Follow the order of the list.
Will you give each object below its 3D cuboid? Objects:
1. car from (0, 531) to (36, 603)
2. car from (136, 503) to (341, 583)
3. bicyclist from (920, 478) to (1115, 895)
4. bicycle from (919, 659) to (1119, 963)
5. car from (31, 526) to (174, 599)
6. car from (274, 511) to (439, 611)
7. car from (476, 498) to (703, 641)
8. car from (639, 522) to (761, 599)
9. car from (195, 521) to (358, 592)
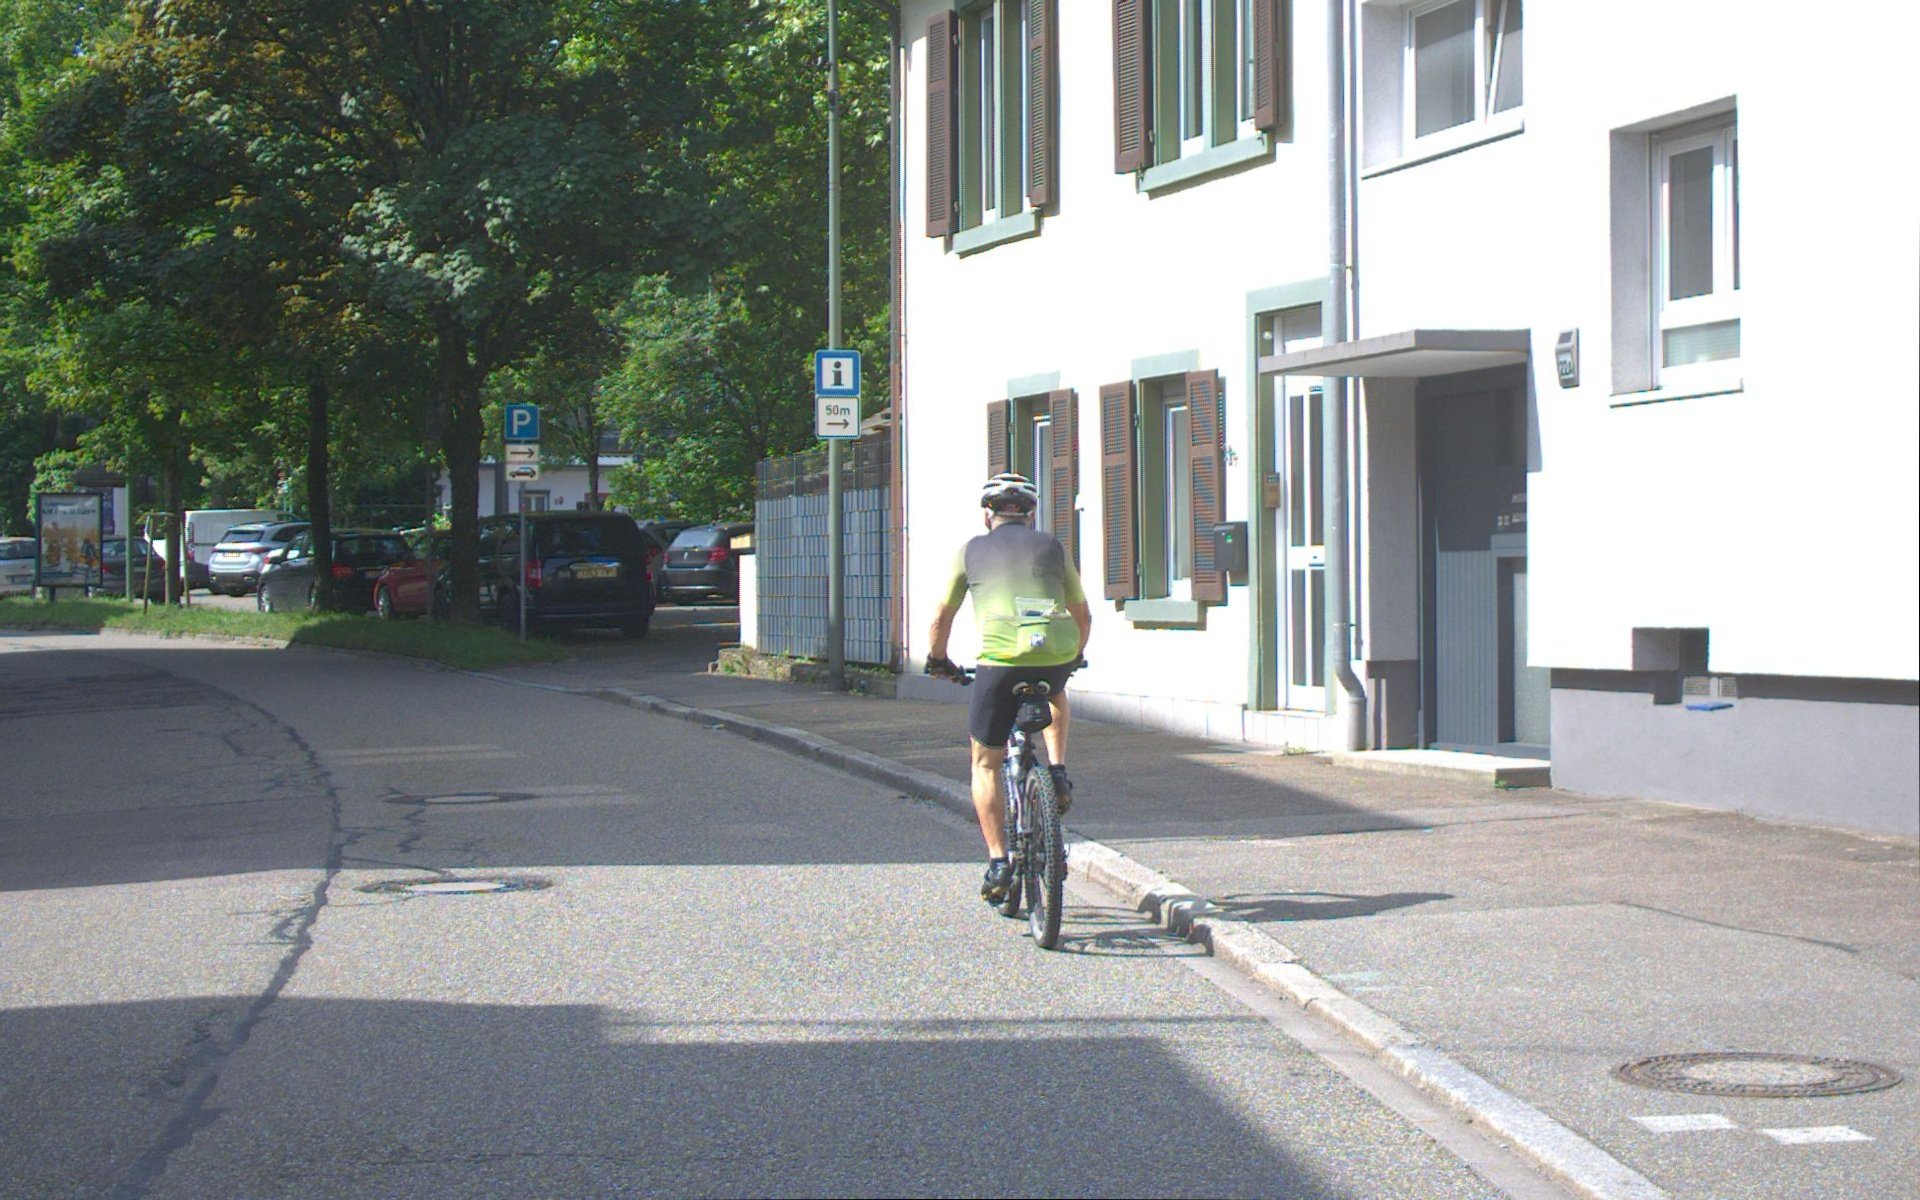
[{"bbox_3d":[-21.142,-0.732,75.223,1.743,1.546,3.754,0,1,-16],"label":"car"},{"bbox_3d":[-17.111,-1.351,81.721,1.997,1.848,4.691,0,1,35],"label":"car"},{"bbox_3d":[0.208,0.318,13.053,0.685,1.526,0.715,-1,0,-1],"label":"bicyclist"},{"bbox_3d":[0.205,0.774,13.127,0.698,1.032,1.471,1,1,-1],"label":"bicycle"},{"bbox_3d":[-17.647,-0.780,70.662,1.673,1.463,3.409,-1,1,-36],"label":"car"},{"bbox_3d":[-10.162,-0.684,57.707,1.708,1.537,4.001,-2,3,-25],"label":"car"},{"bbox_3d":[-5.080,-0.460,46.671,1.822,1.785,4.001,-2,3,-25],"label":"car"},{"bbox_3d":[-4.591,-0.704,60.348,1.582,1.253,3.859,-2,1,-12],"label":"car"},{"bbox_3d":[-15.454,-0.997,77.942,1.811,1.546,3.996,0,1,20],"label":"car"}]
